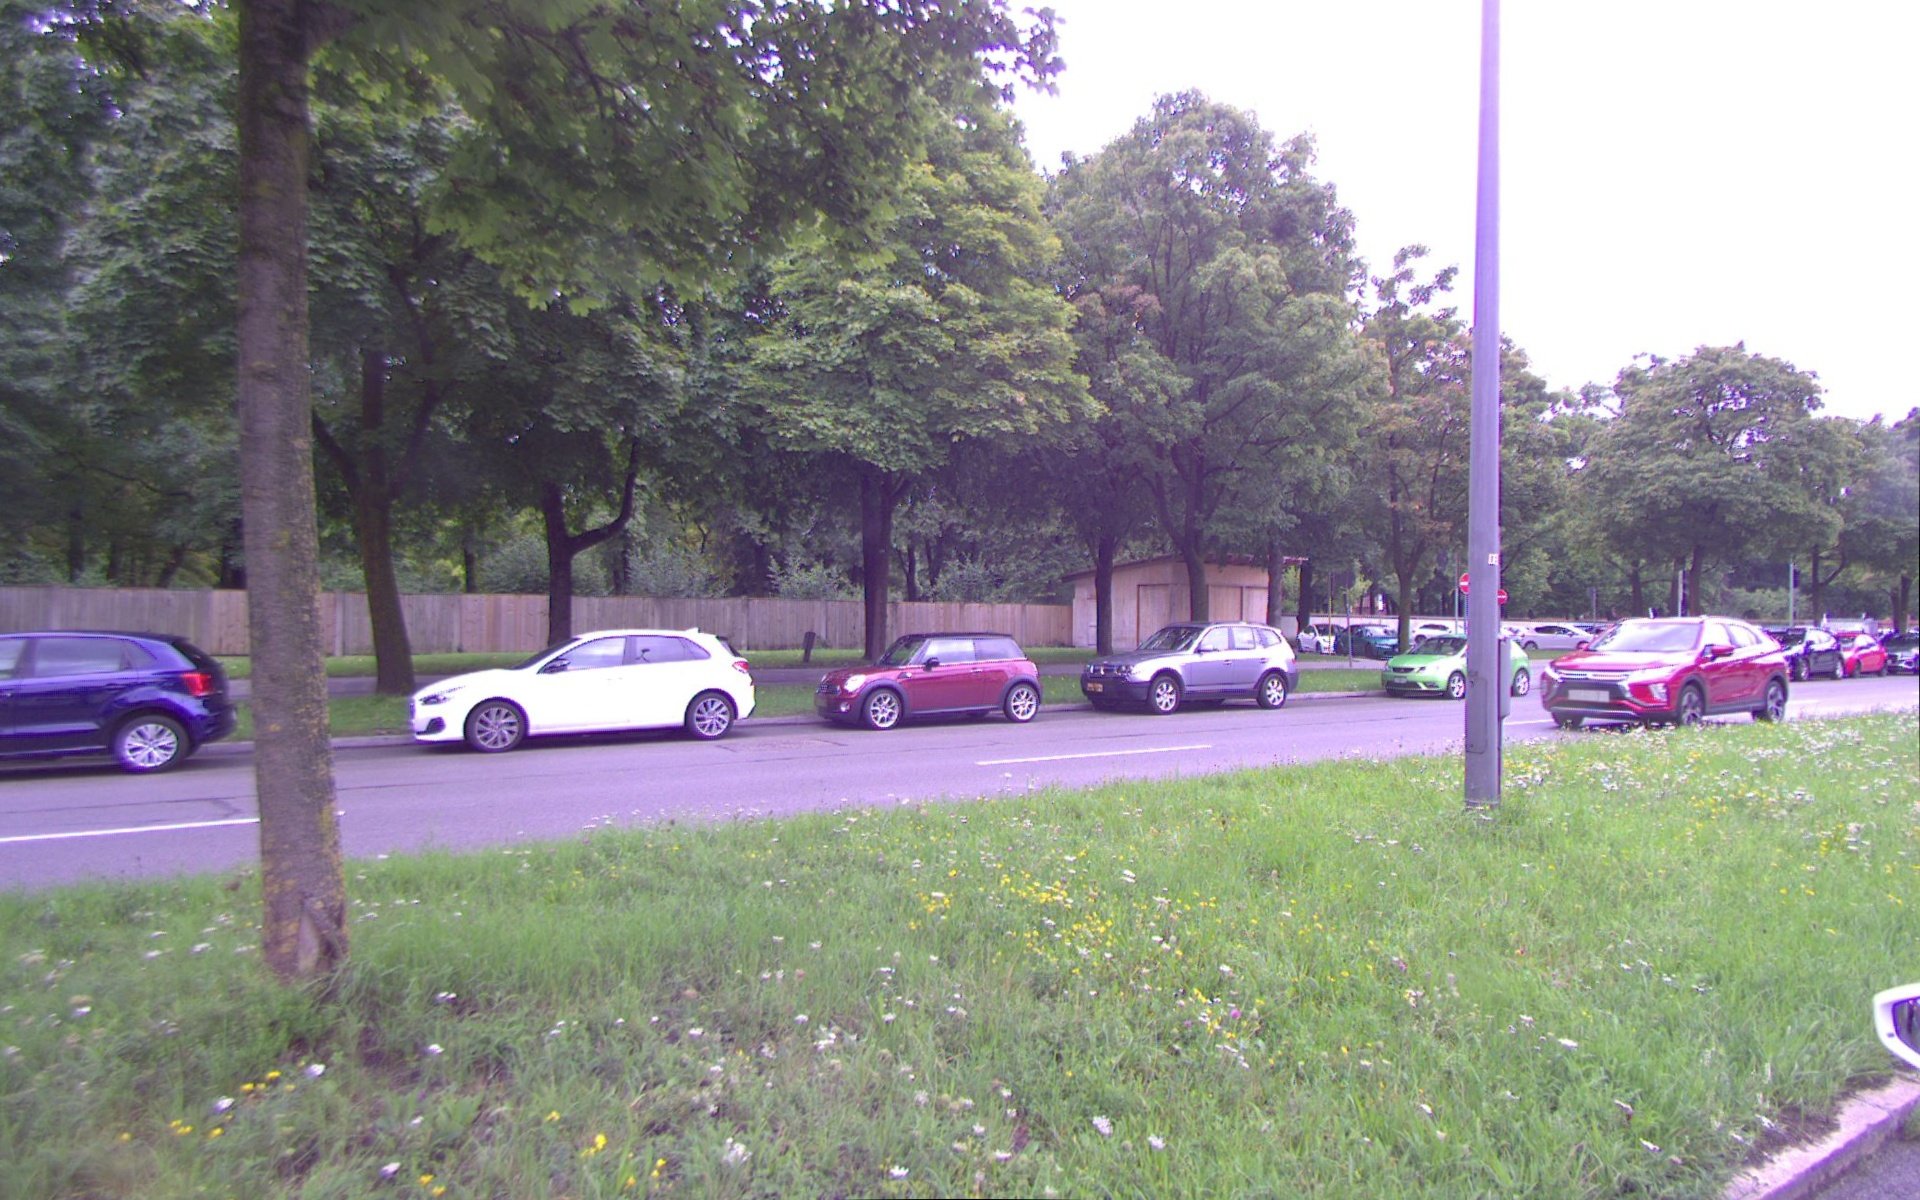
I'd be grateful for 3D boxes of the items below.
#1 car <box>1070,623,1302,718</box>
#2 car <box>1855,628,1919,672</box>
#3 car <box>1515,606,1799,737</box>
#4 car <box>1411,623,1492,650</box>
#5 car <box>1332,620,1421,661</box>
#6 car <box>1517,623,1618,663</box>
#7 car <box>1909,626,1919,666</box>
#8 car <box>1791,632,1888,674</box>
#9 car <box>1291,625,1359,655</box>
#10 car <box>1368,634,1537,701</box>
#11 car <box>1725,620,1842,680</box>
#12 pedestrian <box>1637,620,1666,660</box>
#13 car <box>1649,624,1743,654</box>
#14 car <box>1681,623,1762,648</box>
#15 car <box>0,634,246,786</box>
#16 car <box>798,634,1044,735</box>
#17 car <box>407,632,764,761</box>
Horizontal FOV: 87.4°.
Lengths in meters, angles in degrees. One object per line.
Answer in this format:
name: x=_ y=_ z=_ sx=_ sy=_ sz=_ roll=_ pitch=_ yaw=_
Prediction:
car: x=4.288 y=1.262 z=18.848 sx=4.321 sy=1.607 sz=1.682 roll=1 pitch=-2 yaw=-32
car: x=34.723 y=1.814 z=36.931 sx=3.835 sy=1.465 sz=1.658 roll=2 pitch=0 yaw=-31
car: x=10.525 y=1.019 z=15.133 sx=4.195 sy=1.718 sz=1.895 roll=1 pitch=-3 yaw=-30
car: x=31.277 y=2.292 z=64.056 sx=1.653 sy=1.496 sz=4.486 roll=2 pitch=0 yaw=-29
car: x=17.078 y=1.627 z=41.408 sx=1.922 sy=1.465 sz=4.421 roll=2 pitch=0 yaw=2
car: x=29.830 y=2.076 z=49.407 sx=1.656 sy=1.740 sz=3.892 roll=1 pitch=0 yaw=-35
car: x=39.283 y=1.844 z=39.736 sx=3.835 sy=1.579 sz=1.582 roll=2 pitch=0 yaw=-32
car: x=30.346 y=1.814 z=34.640 sx=3.342 sy=1.329 sz=1.582 roll=2 pitch=0 yaw=-31
car: x=17.028 y=1.839 z=47.065 sx=1.639 sy=1.217 sz=4.421 roll=2 pitch=0 yaw=2
car: x=11.345 y=1.498 z=23.092 sx=3.830 sy=1.428 sz=1.542 roll=1 pitch=-2 yaw=-28
car: x=26.174 y=1.558 z=31.900 sx=3.835 sy=1.764 sz=1.707 roll=2 pitch=0 yaw=-31
pedestrian: x=28.032 y=1.617 z=40.725 sx=0.712 sy=1.554 sz=0.724 roll=1 pitch=0 yaw=-30
car: x=40.674 y=2.149 z=55.566 sx=1.656 sy=1.465 sz=3.840 roll=1 pitch=0 yaw=-35
car: x=49.054 y=2.261 z=64.741 sx=1.656 sy=1.465 sz=3.840 roll=1 pitch=0 yaw=-35
car: x=-9.654 y=1.074 z=10.161 sx=3.855 sy=1.436 sz=1.604 roll=1 pitch=-2 yaw=-33
car: x=-0.599 y=1.259 z=15.870 sx=3.586 sy=1.415 sz=1.584 roll=1 pitch=-2 yaw=-29
car: x=-4.887 y=1.168 z=13.299 sx=4.229 sy=1.463 sz=1.600 roll=1 pitch=-2 yaw=-31
